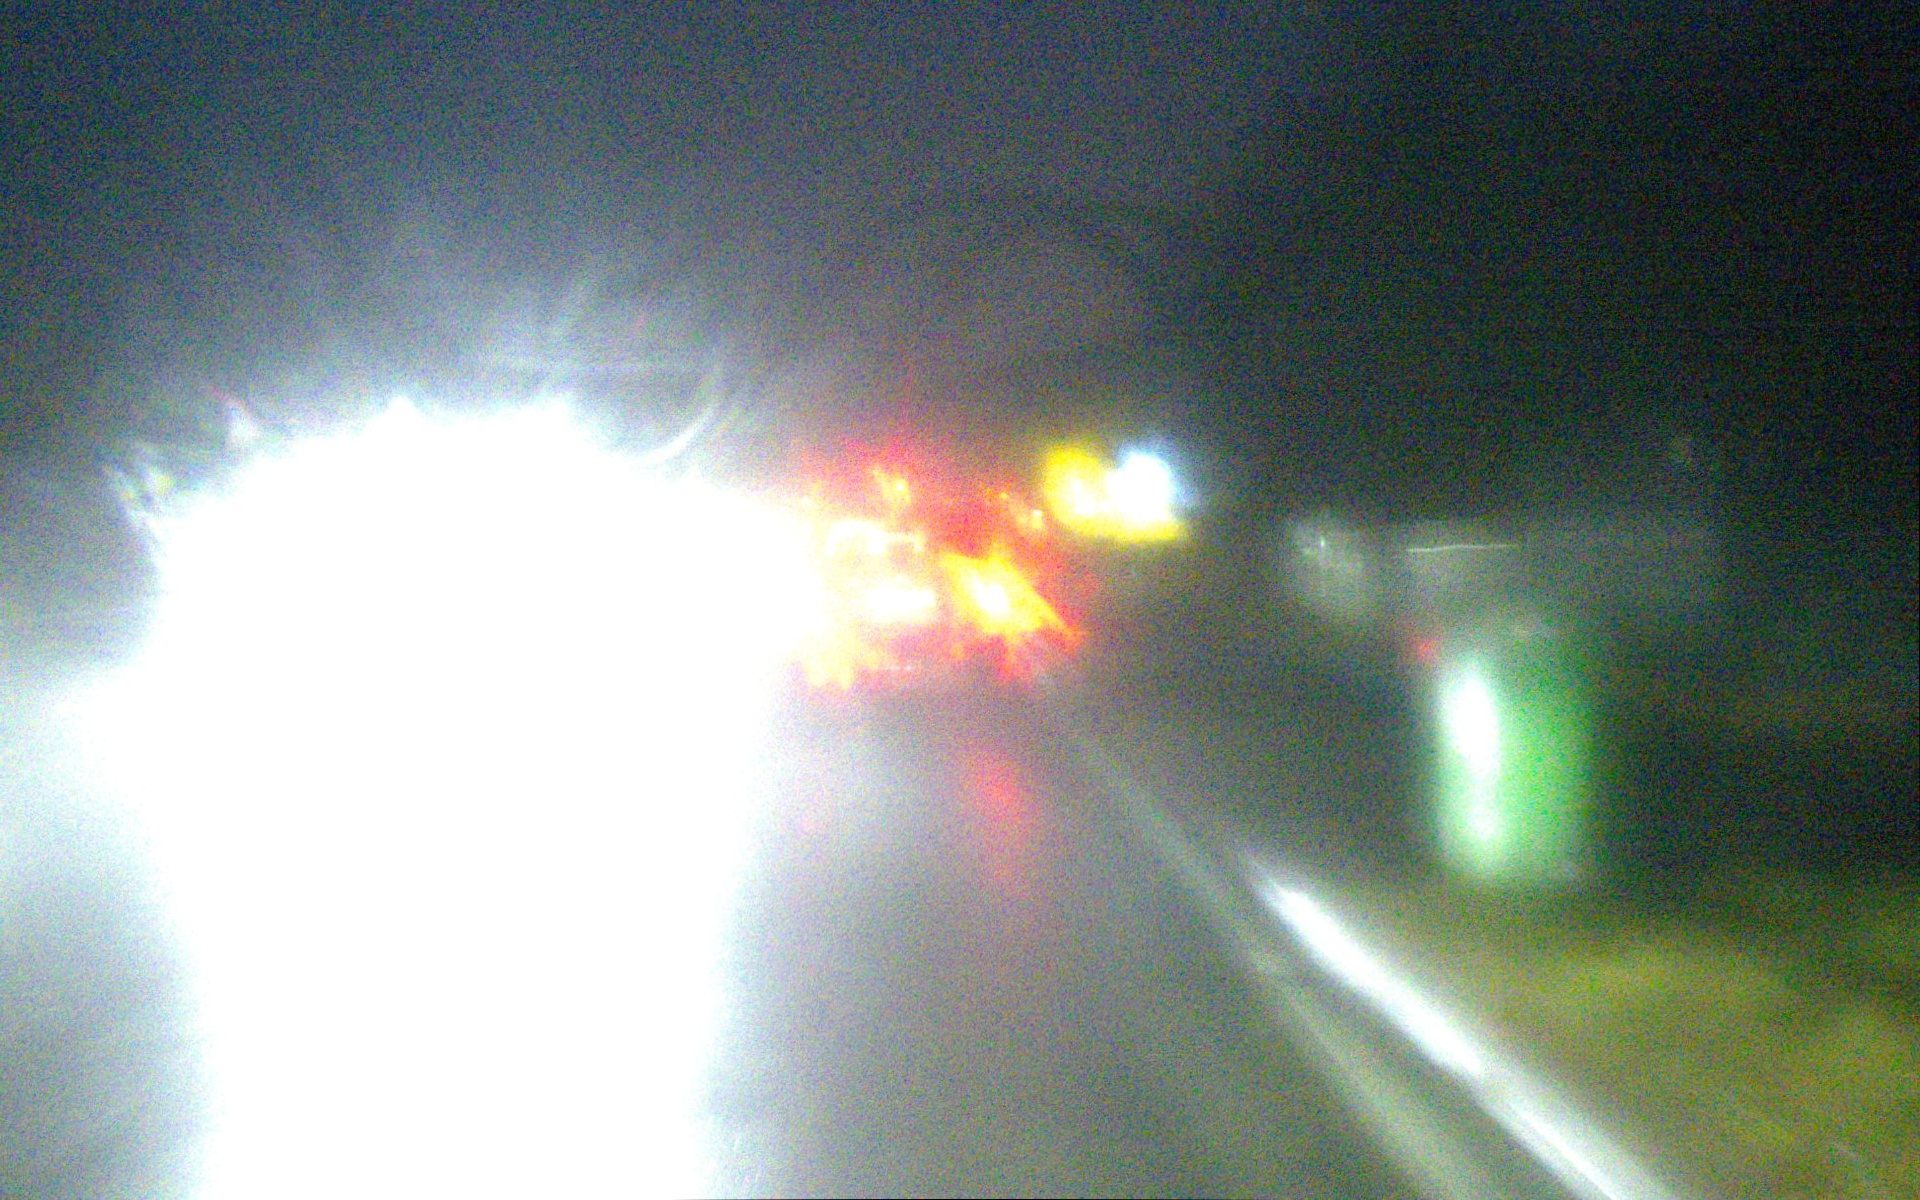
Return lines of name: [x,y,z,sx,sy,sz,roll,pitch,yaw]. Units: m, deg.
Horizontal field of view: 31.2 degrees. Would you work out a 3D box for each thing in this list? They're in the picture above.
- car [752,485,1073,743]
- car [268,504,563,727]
car: [-0.486,0.108,29.079,2.457,1.952,4.912,-1,0,-3]
car: [-4.586,0.064,29.564,1.855,1.677,4.326,-3,2,-1]
